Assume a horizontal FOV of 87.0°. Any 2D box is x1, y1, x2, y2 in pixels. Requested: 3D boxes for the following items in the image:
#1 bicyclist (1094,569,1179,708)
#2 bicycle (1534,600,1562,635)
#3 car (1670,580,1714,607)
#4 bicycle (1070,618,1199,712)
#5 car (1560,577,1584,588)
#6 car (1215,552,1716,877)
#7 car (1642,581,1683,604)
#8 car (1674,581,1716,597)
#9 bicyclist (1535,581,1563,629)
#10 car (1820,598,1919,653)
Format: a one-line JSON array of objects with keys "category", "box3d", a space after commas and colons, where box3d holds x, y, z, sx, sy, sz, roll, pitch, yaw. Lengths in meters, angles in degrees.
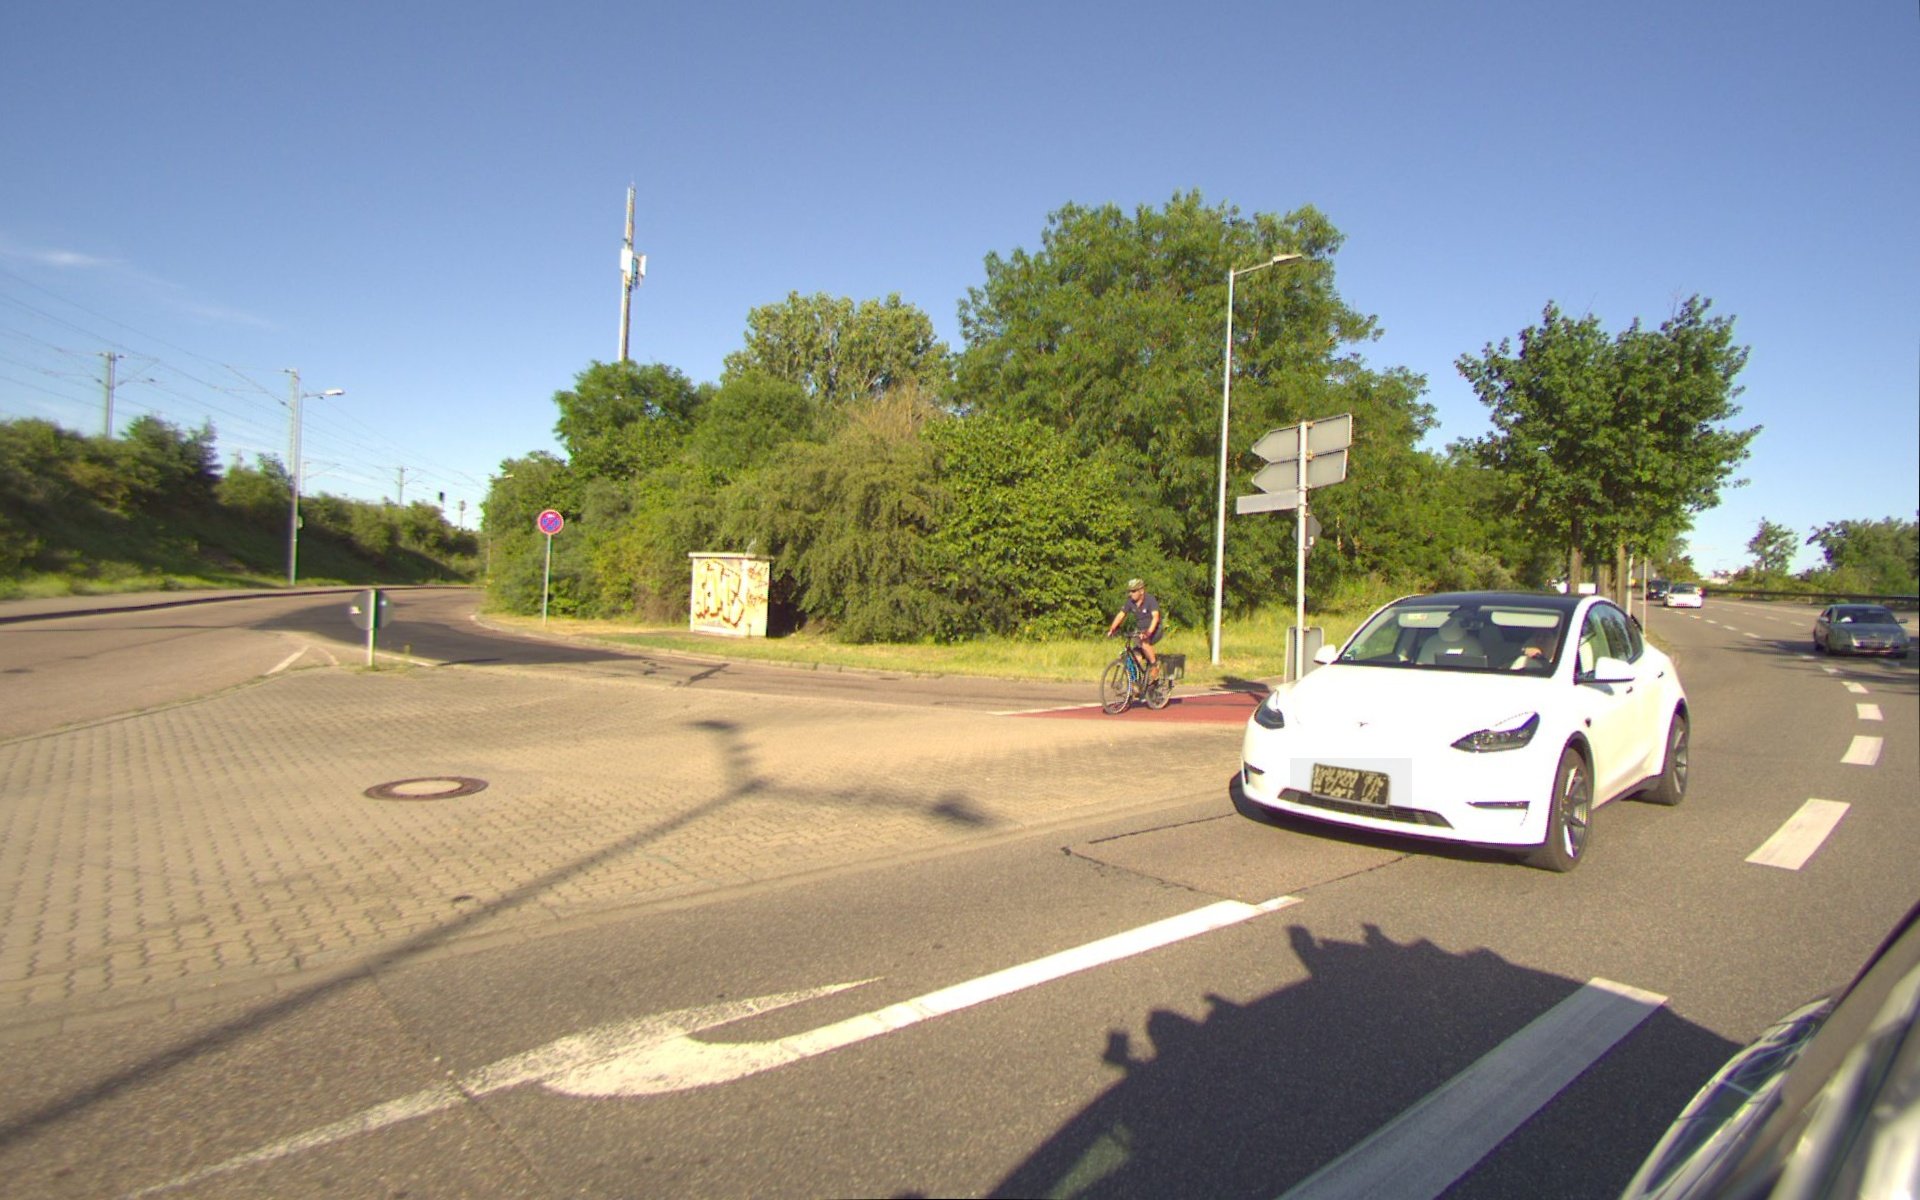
[{"category": "bicyclist", "box3d": [2.415, 0.496, 13.806, 0.675, 1.798, 0.934, 4, 3, 42]}, {"category": "bicycle", "box3d": [20.271, 0.583, 34.878, 0.698, 1.087, 1.899, 4, 3, 32]}, {"category": "car", "box3d": [48.692, -0.434, 67.396, 2.138, 1.586, 4.146, 6, 4, 34]}, {"category": "bicycle", "box3d": [2.418, 0.841, 13.828, 0.695, 1.108, 2.086, 5, 3, 42]}, {"category": "car", "box3d": [82.483, -2.369, 136.389, 1.744, 1.507, 4.254, 0, 2, 17]}, {"category": "car", "box3d": [3.893, 0.687, 7.390, 4.335, 1.662, 1.916, 4, -3, -43]}, {"category": "car", "box3d": [56.436, -0.618, 81.334, 1.979, 1.738, 4.234, 1, 0, 25]}, {"category": "car", "box3d": [67.390, -1.010, 92.857, 1.712, 1.403, 4.472, 0, 1, 18]}, {"category": "bicyclist", "box3d": [20.279, 0.159, 34.841, 0.705, 1.597, 0.993, 4, 3, 33]}, {"category": "car", "box3d": [26.475, 0.700, 29.492, 1.672, 1.459, 3.813, -1, 0, 33]}]
